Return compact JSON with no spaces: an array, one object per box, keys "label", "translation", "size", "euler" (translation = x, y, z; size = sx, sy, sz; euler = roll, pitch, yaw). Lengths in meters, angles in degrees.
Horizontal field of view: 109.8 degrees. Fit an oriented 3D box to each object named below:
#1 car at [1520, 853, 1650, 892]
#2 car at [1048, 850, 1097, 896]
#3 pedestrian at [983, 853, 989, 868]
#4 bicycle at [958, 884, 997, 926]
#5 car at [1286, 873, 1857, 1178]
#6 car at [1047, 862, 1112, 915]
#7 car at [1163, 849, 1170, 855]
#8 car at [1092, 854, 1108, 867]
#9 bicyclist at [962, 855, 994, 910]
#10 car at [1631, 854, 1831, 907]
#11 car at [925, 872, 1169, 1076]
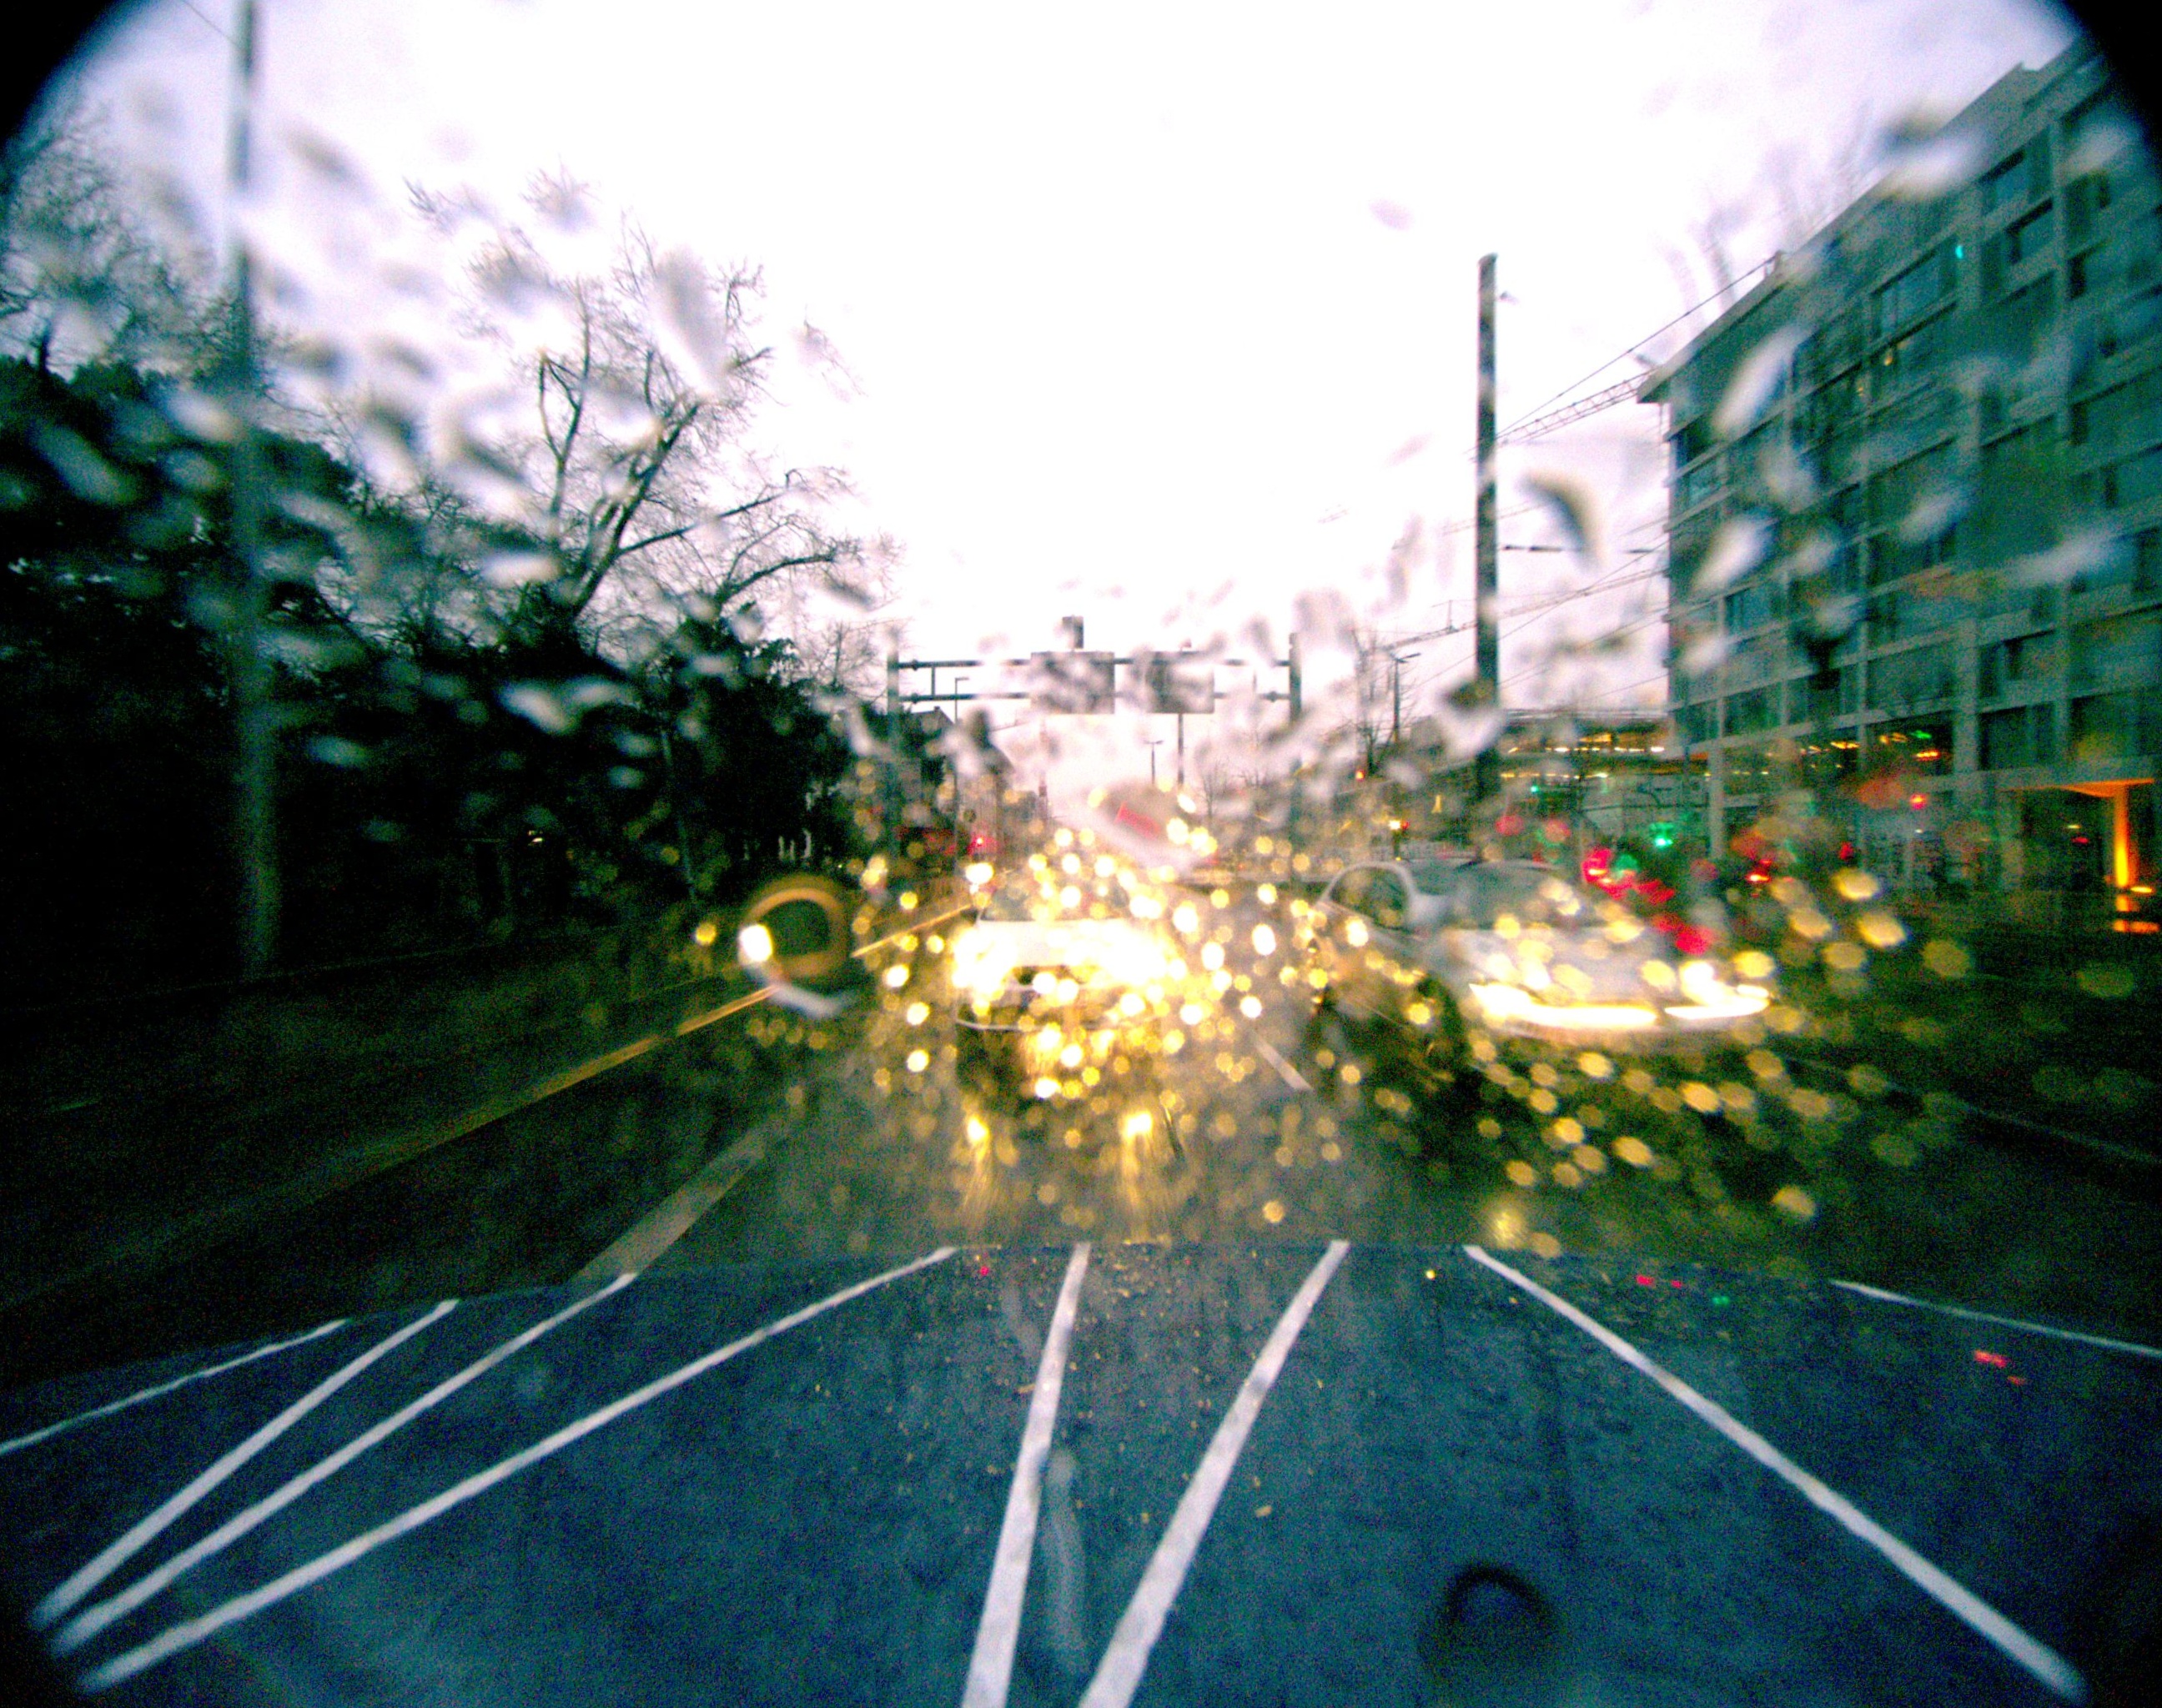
[{"label":"car","translation":[20.215,0.683,30.809],"size":[1.998,1.459,5.034],"euler":[0,0,1]},{"label":"car","translation":[-0.330,0.711,30.733],"size":[1.781,1.666,3.981],"euler":[-2,0,0]},{"label":"pedestrian","translation":[-9.510,0.675,76.390],"size":[0.521,1.501,0.588],"euler":[0,0,0]},{"label":"bicycle","translation":[-2.640,1.287,19.575],"size":[0.647,0.961,2.047],"euler":[0,0,3]},{"label":"car","translation":[3.011,0.911,5.809],"size":[1.767,1.363,3.981],"euler":[-2,0,0]},{"label":"car","translation":[-0.053,0.942,22.441],"size":[1.728,1.318,3.981],"euler":[-2,0,0]},{"label":"car","translation":[29.330,-0.832,259.840],"size":[1.998,2.002,4.000],"euler":[0,0,1]},{"label":"car","translation":[2.222,0.700,87.320],"size":[1.767,1.363,3.981],"euler":[-2,0,1]},{"label":"bicyclist","translation":[-2.640,0.721,19.553],"size":[0.647,1.381,0.890],"euler":[0,0,2]},{"label":"car","translation":[20.316,0.762,24.039],"size":[2.001,1.488,4.444],"euler":[0,0,-15]},{"label":"car","translation":[-0.261,0.954,7.706],"size":[1.798,1.363,3.981],"euler":[-2,0,0]}]
